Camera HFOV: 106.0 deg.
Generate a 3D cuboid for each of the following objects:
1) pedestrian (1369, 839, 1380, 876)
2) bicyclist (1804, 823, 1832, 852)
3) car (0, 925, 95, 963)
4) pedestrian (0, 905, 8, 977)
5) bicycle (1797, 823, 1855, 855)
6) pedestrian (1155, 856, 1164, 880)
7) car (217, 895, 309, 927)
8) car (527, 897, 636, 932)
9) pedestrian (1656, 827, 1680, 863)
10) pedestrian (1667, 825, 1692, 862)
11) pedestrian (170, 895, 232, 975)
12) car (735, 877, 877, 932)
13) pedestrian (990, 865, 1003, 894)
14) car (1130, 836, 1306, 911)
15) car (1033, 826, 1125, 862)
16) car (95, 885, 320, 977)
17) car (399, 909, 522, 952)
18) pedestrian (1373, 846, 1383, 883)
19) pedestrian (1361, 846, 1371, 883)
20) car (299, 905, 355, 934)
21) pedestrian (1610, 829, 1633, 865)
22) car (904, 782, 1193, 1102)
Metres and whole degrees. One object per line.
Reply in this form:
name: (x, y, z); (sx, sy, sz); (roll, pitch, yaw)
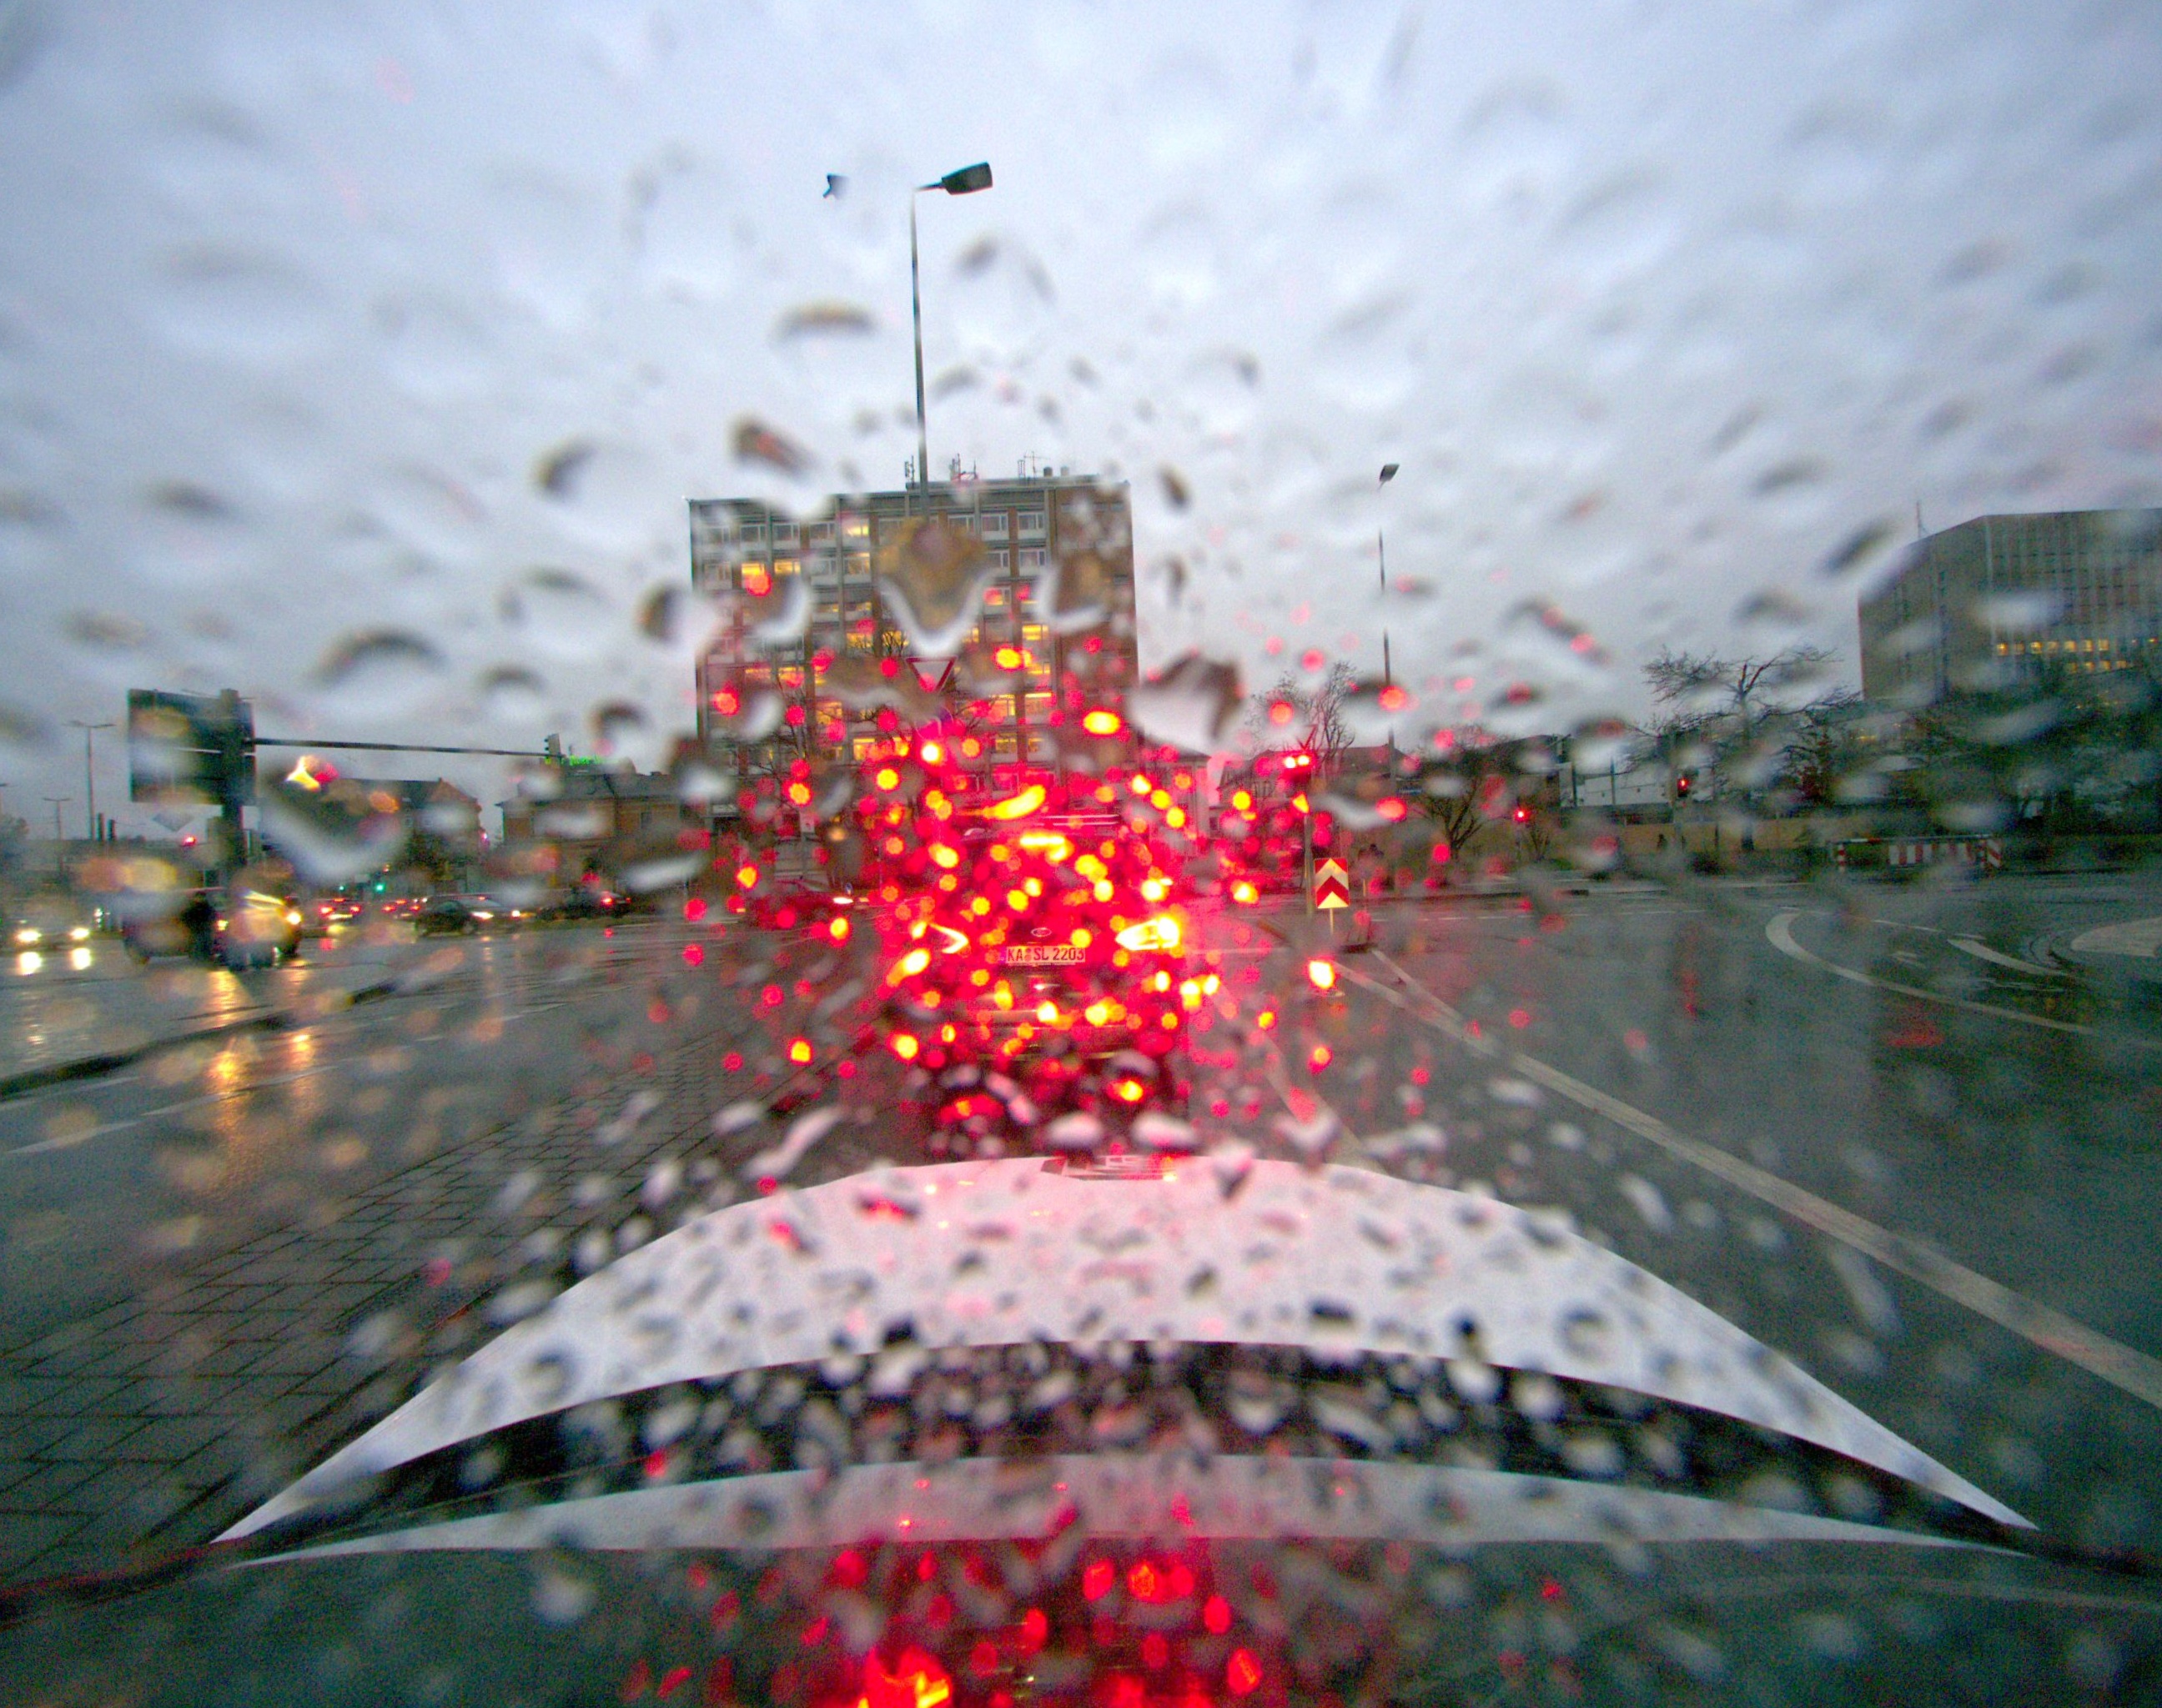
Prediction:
pedestrian: (14.619, 0.189, 40.617); (0.454, 1.839, 0.441); (-2, -2, 19)
bicyclist: (33.788, -0.747, 37.340); (0.694, 1.246, 0.609); (-1, -2, 10)
car: (-43.990, 3.758, 34.355); (3.611, 1.449, 1.610); (-1, -2, 14)
pedestrian: (-26.860, 2.142, 19.884); (0.605, 1.772, 0.587); (-2, -2, 15)
bicycle: (34.112, -0.680, 37.299); (1.911, 1.423, 0.594); (-1, -2, 10)
pedestrian: (4.305, 0.763, 44.603); (0.429, 1.270, 0.443); (-1, -2, 13)
car: (-52.875, 3.708, 52.675); (5.114, 1.913, 2.008); (-2, -1, 17)
car: (-24.281, 2.917, 39.628); (4.400, 1.580, 1.975); (-1, -2, 15)
pedestrian: (28.831, -0.448, 40.014); (0.620, 1.725, 0.762); (-1, -2, 8)
pedestrian: (28.620, -0.505, 38.945); (0.620, 1.725, 0.762); (-1, -2, 8)
pedestrian: (-19.520, 1.774, 18.079); (0.456, 1.697, 0.801); (-2, -2, 25)
car: (-8.860, 1.608, 26.320); (4.040, 1.684, 1.766); (-1, -2, 14)
pedestrian: (-4.868, 1.476, 46.940); (0.642, 1.666, 0.564); (-1, -2, 9)
car: (3.383, 0.506, 20.006); (4.037, 1.684, 1.766); (-1, -2, 13)
car: (-0.074, -0.590, 51.047); (5.516, 2.024, 2.004); (-1, -2, 7)
car: (-24.094, 2.060, 22.503); (4.981, 2.282, 2.268); (-2, -2, 18)
car: (-23.089, 2.826, 30.332); (3.800, 1.449, 1.610); (-1, -2, 14)
pedestrian: (15.093, 0.525, 41.360); (0.434, 1.839, 0.462); (-2, -2, 20)
pedestrian: (14.562, 0.546, 41.579); (0.434, 1.839, 0.462); (-2, -2, 19)
car: (-45.003, 3.901, 48.604); (3.368, 1.605, 1.576); (-2, -2, 31)
pedestrian: (26.483, -0.334, 39.918); (0.620, 1.725, 0.762); (-1, -2, 8)
car: (-0.124, 0.502, 6.706); (1.641, 1.819, 4.002); (-1, 0, 2)
